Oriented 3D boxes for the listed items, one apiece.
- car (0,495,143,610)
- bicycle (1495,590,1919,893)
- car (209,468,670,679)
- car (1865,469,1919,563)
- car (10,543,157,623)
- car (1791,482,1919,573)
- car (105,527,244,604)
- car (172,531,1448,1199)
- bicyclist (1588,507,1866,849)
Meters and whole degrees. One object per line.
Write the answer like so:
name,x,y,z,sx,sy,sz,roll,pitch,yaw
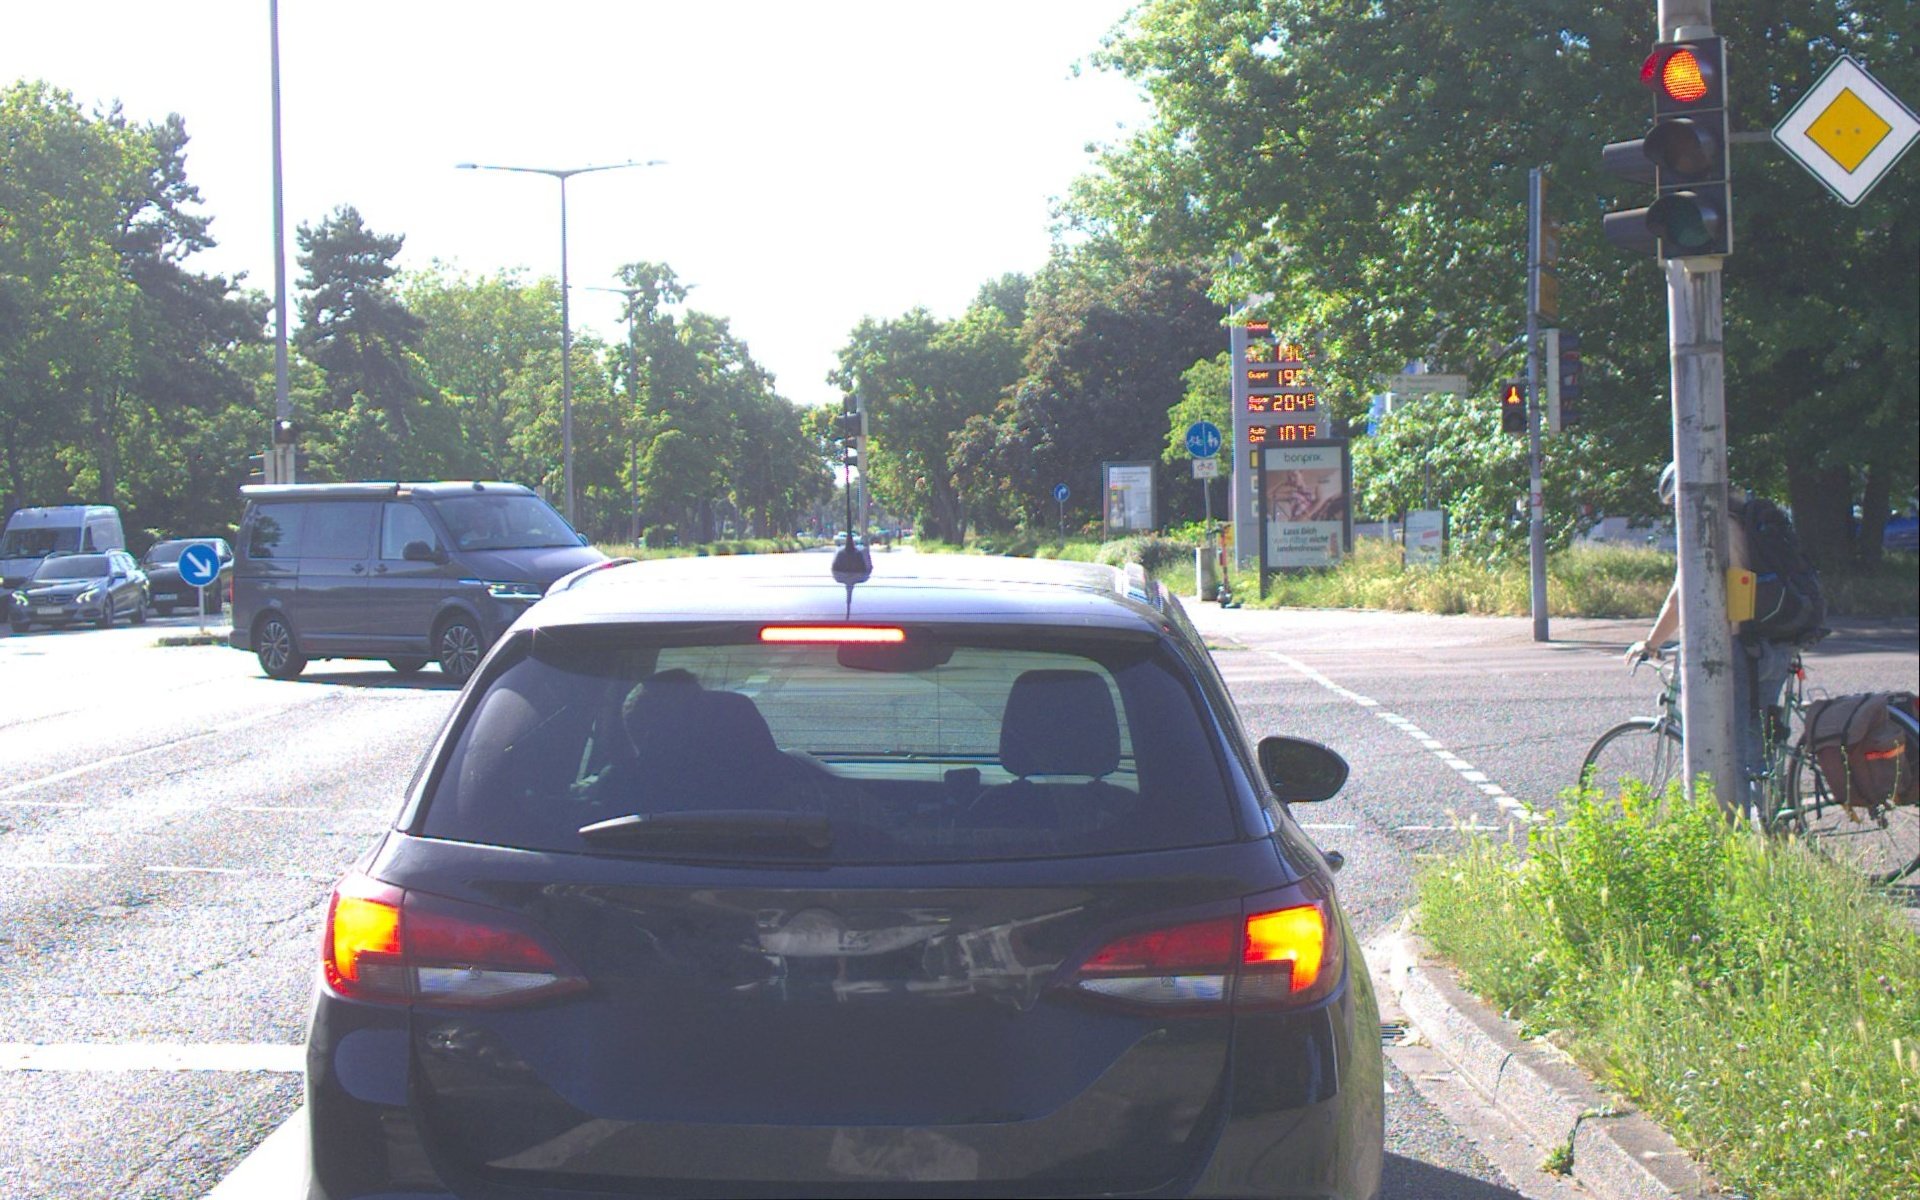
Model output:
car,-20.453,-1.096,78.614,2.100,2.484,6.004,-2,1,-1
bicycle,2.980,0.543,13.336,0.536,1.094,1.775,-3,0,-44
car,-5.339,-0.267,34.811,5.011,1.985,1.913,0,2,44
car,17.094,-1.428,56.720,3.887,1.512,1.746,-2,1,-23
car,-16.879,-0.359,66.400,1.686,1.428,4.615,-2,1,-1
car,16.619,-1.287,59.805,3.887,1.512,1.746,-2,1,-23
car,-17.201,-0.788,75.502,1.993,1.596,4.616,-1,1,-1
car,-0.231,0.627,6.850,1.756,1.490,4.207,0,1,-1
bicyclist,2.970,0.302,13.333,0.536,1.272,0.829,-3,0,-44
